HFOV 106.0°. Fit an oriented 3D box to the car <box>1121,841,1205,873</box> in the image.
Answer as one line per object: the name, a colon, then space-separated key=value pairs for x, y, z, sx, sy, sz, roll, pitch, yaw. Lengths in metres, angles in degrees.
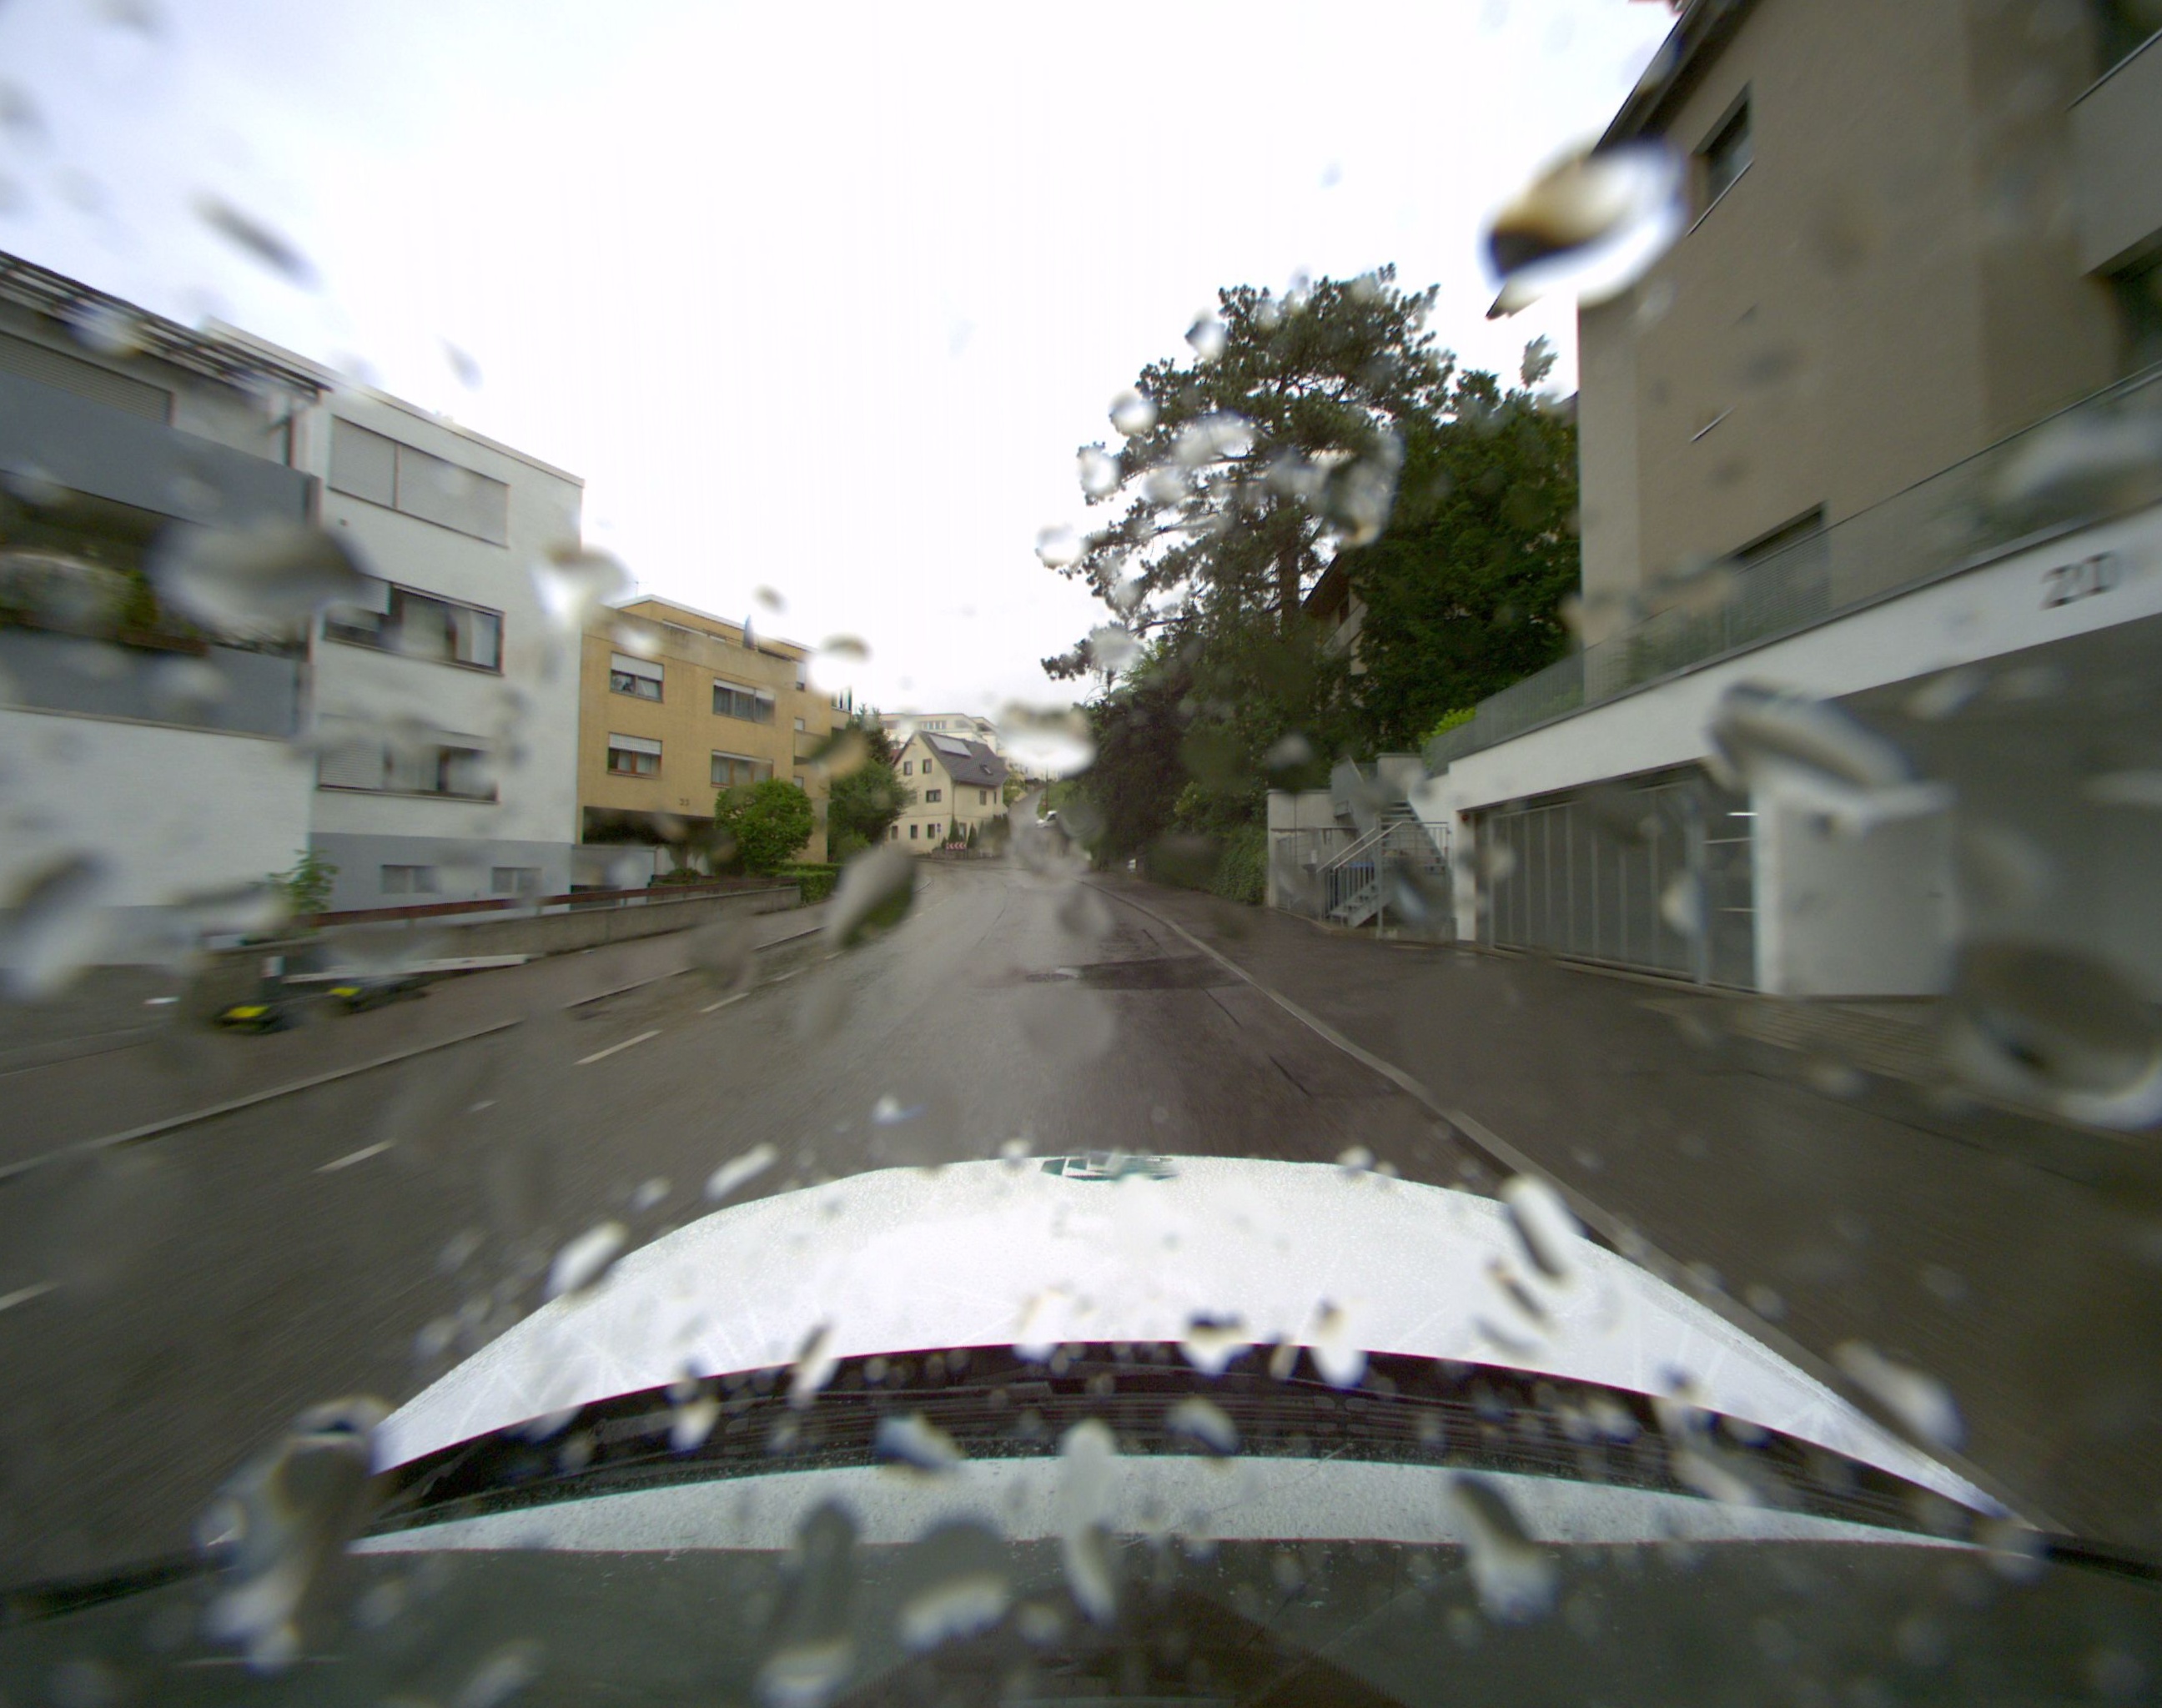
car: x=4.309 y=0.133 z=43.170 sx=4.137 sy=1.476 sz=1.901 roll=-2 pitch=1 yaw=-5

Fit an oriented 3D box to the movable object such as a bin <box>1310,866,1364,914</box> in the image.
movable object such as a bin: x=5.251 y=0.736 z=16.742 sx=0.872 sy=0.941 sz=0.745 roll=-1 pitch=0 yaw=-3

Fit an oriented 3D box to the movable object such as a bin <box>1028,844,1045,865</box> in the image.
movable object such as a bin: x=-3.038 y=0.008 z=56.051 sx=1.079 sy=1.442 sz=1.457 roll=1 pitch=1 yaw=-2

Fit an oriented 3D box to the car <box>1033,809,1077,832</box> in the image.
car: x=-3.124 y=-3.983 z=97.352 sx=4.941 sy=2.569 sz=1.899 roll=-2 pitch=1 yaw=-9
